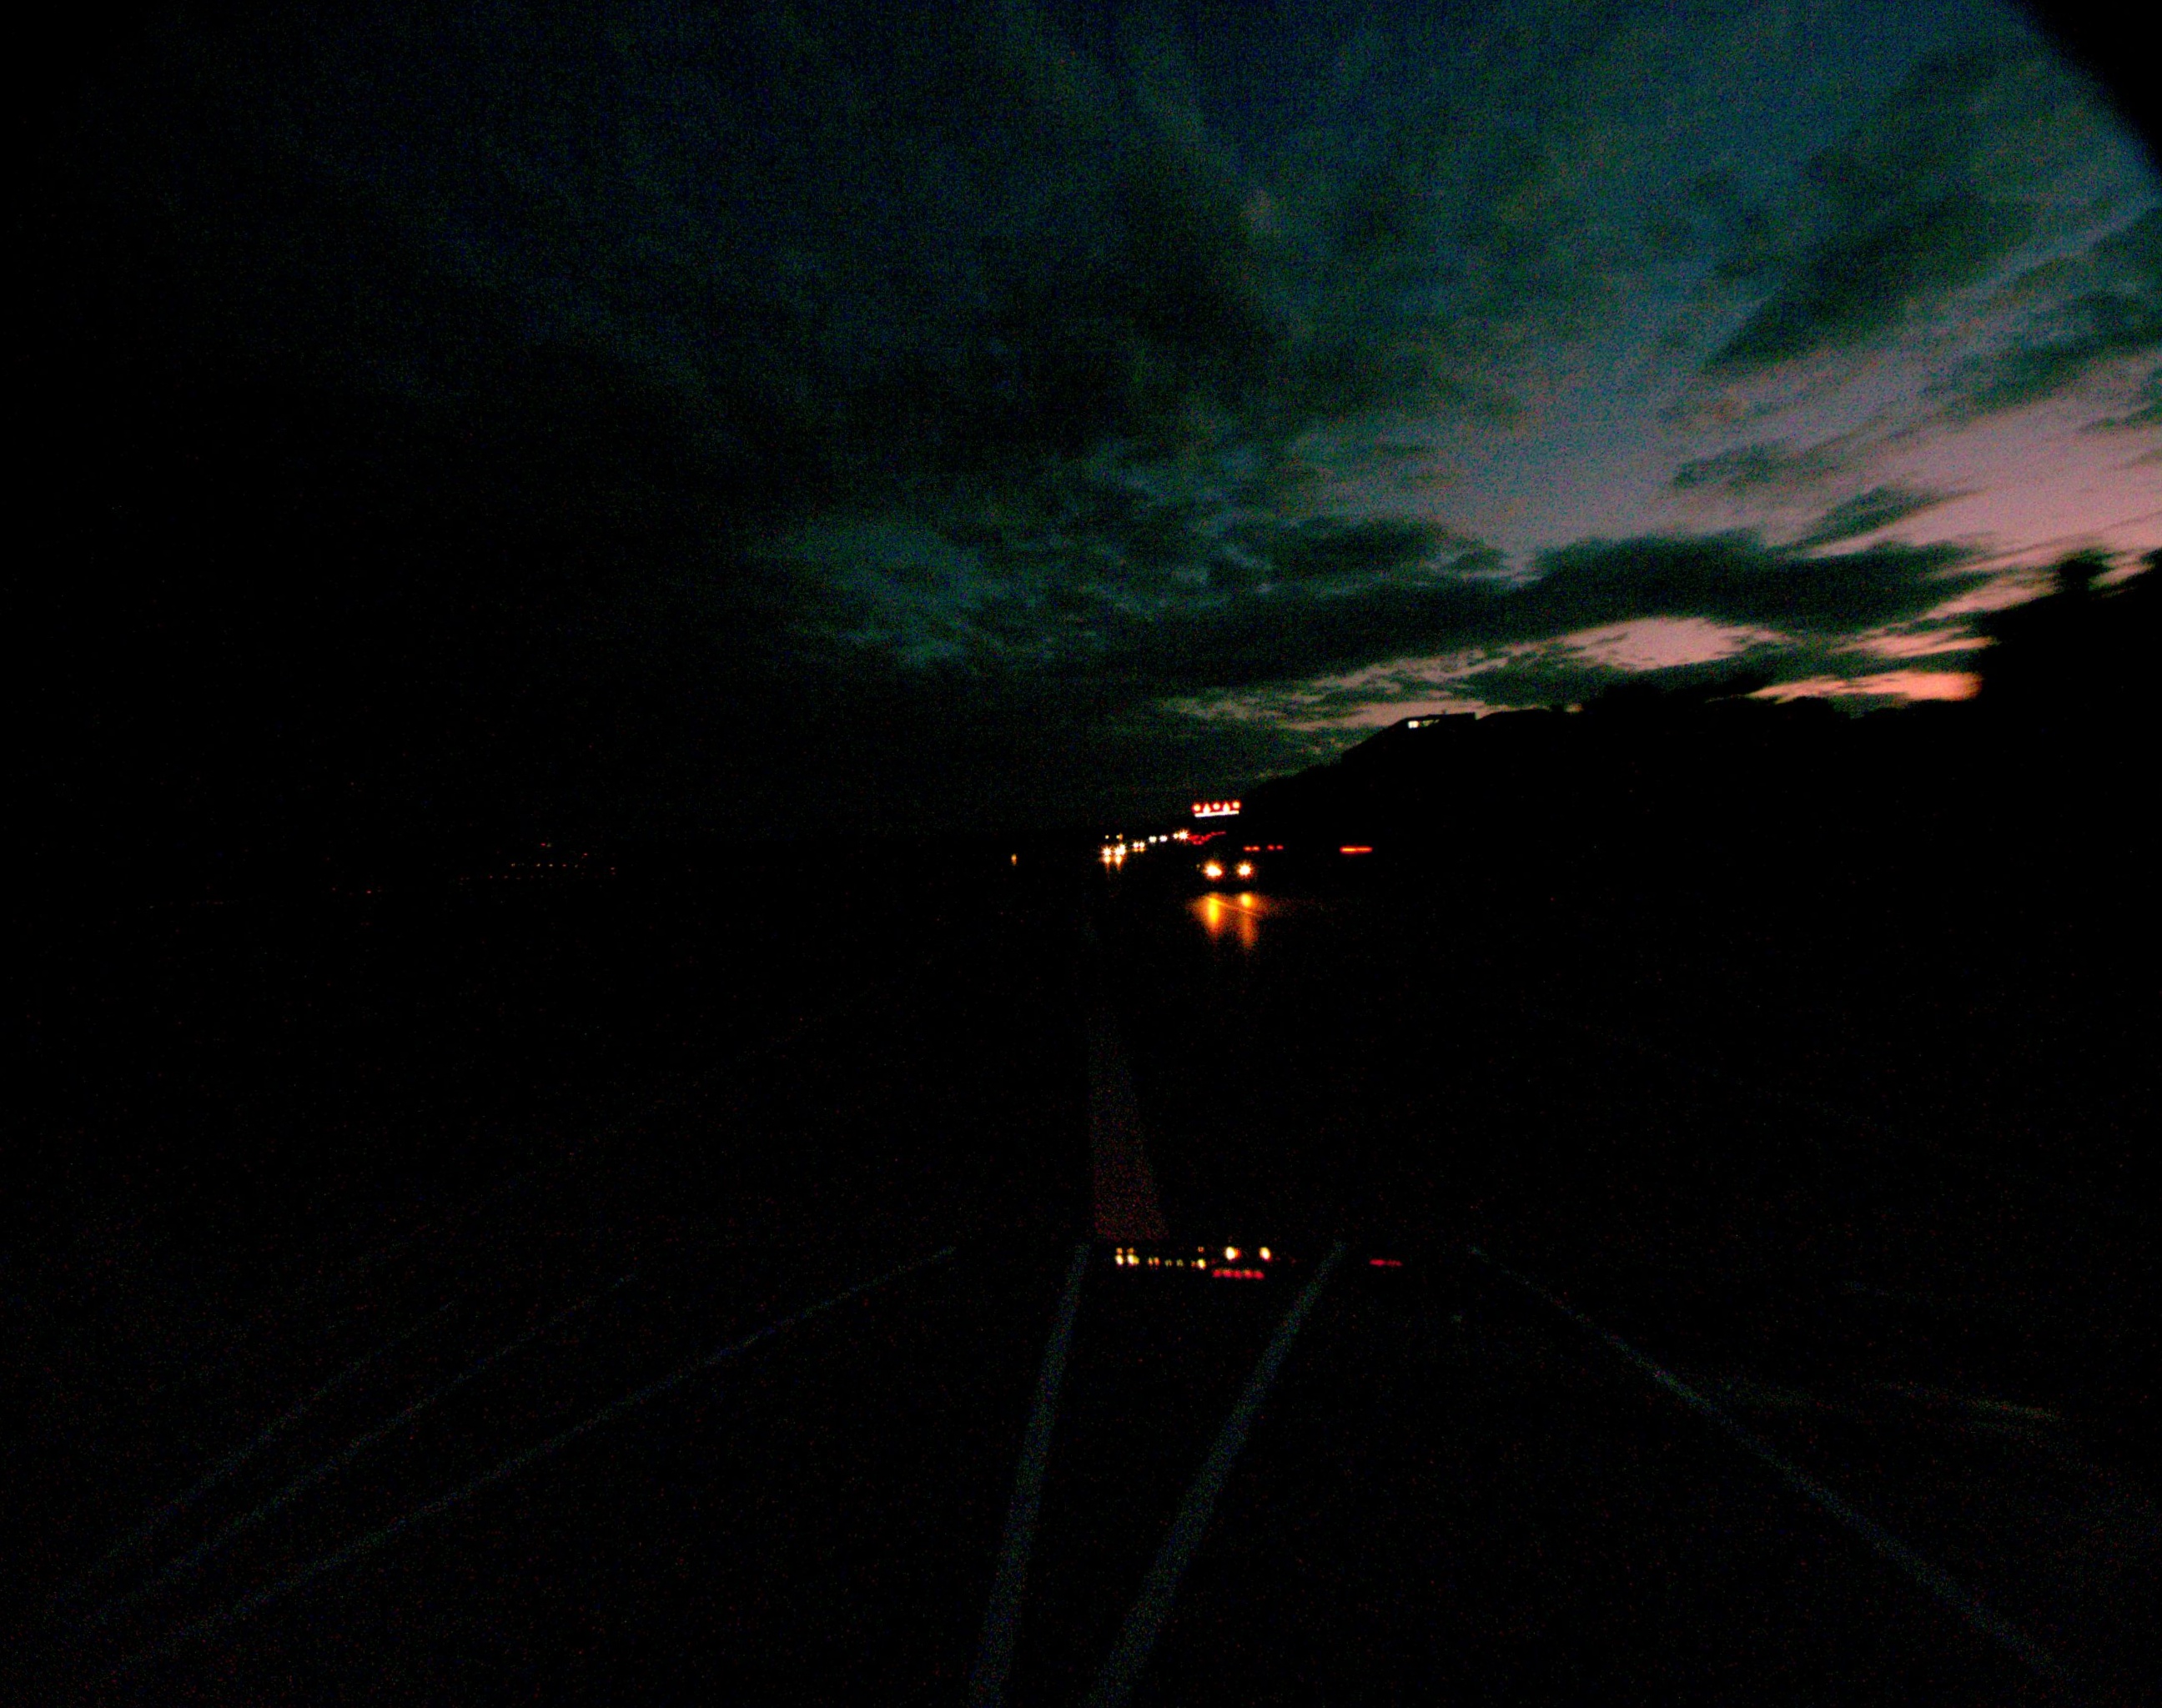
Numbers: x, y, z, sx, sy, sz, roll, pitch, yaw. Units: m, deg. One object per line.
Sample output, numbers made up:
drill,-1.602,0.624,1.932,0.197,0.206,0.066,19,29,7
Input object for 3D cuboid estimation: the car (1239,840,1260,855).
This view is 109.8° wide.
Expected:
car,24.000,-0.934,108.262,1.880,1.883,5.056,-3,2,1

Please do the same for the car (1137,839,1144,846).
car,15.501,-2.997,197.250,1.653,1.655,3.775,-3,2,3

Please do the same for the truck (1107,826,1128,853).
truck,6.522,-2.716,134.473,3.025,4.373,11.615,-3,2,5

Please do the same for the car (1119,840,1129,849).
car,10.743,-2.318,188.940,1.997,2.002,4.001,-2,2,8

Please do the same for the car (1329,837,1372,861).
car,23.455,-0.435,66.370,1.999,1.883,4.677,-3,2,0

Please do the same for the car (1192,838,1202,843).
car,31.252,-3.727,204.245,2.064,1.219,5.233,-3,2,3

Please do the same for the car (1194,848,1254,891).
car,5.839,0.589,31.389,1.717,1.471,3.998,-3,2,1

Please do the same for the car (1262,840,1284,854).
car,28.432,-1.028,112.739,1.998,1.883,5.056,-3,2,1
